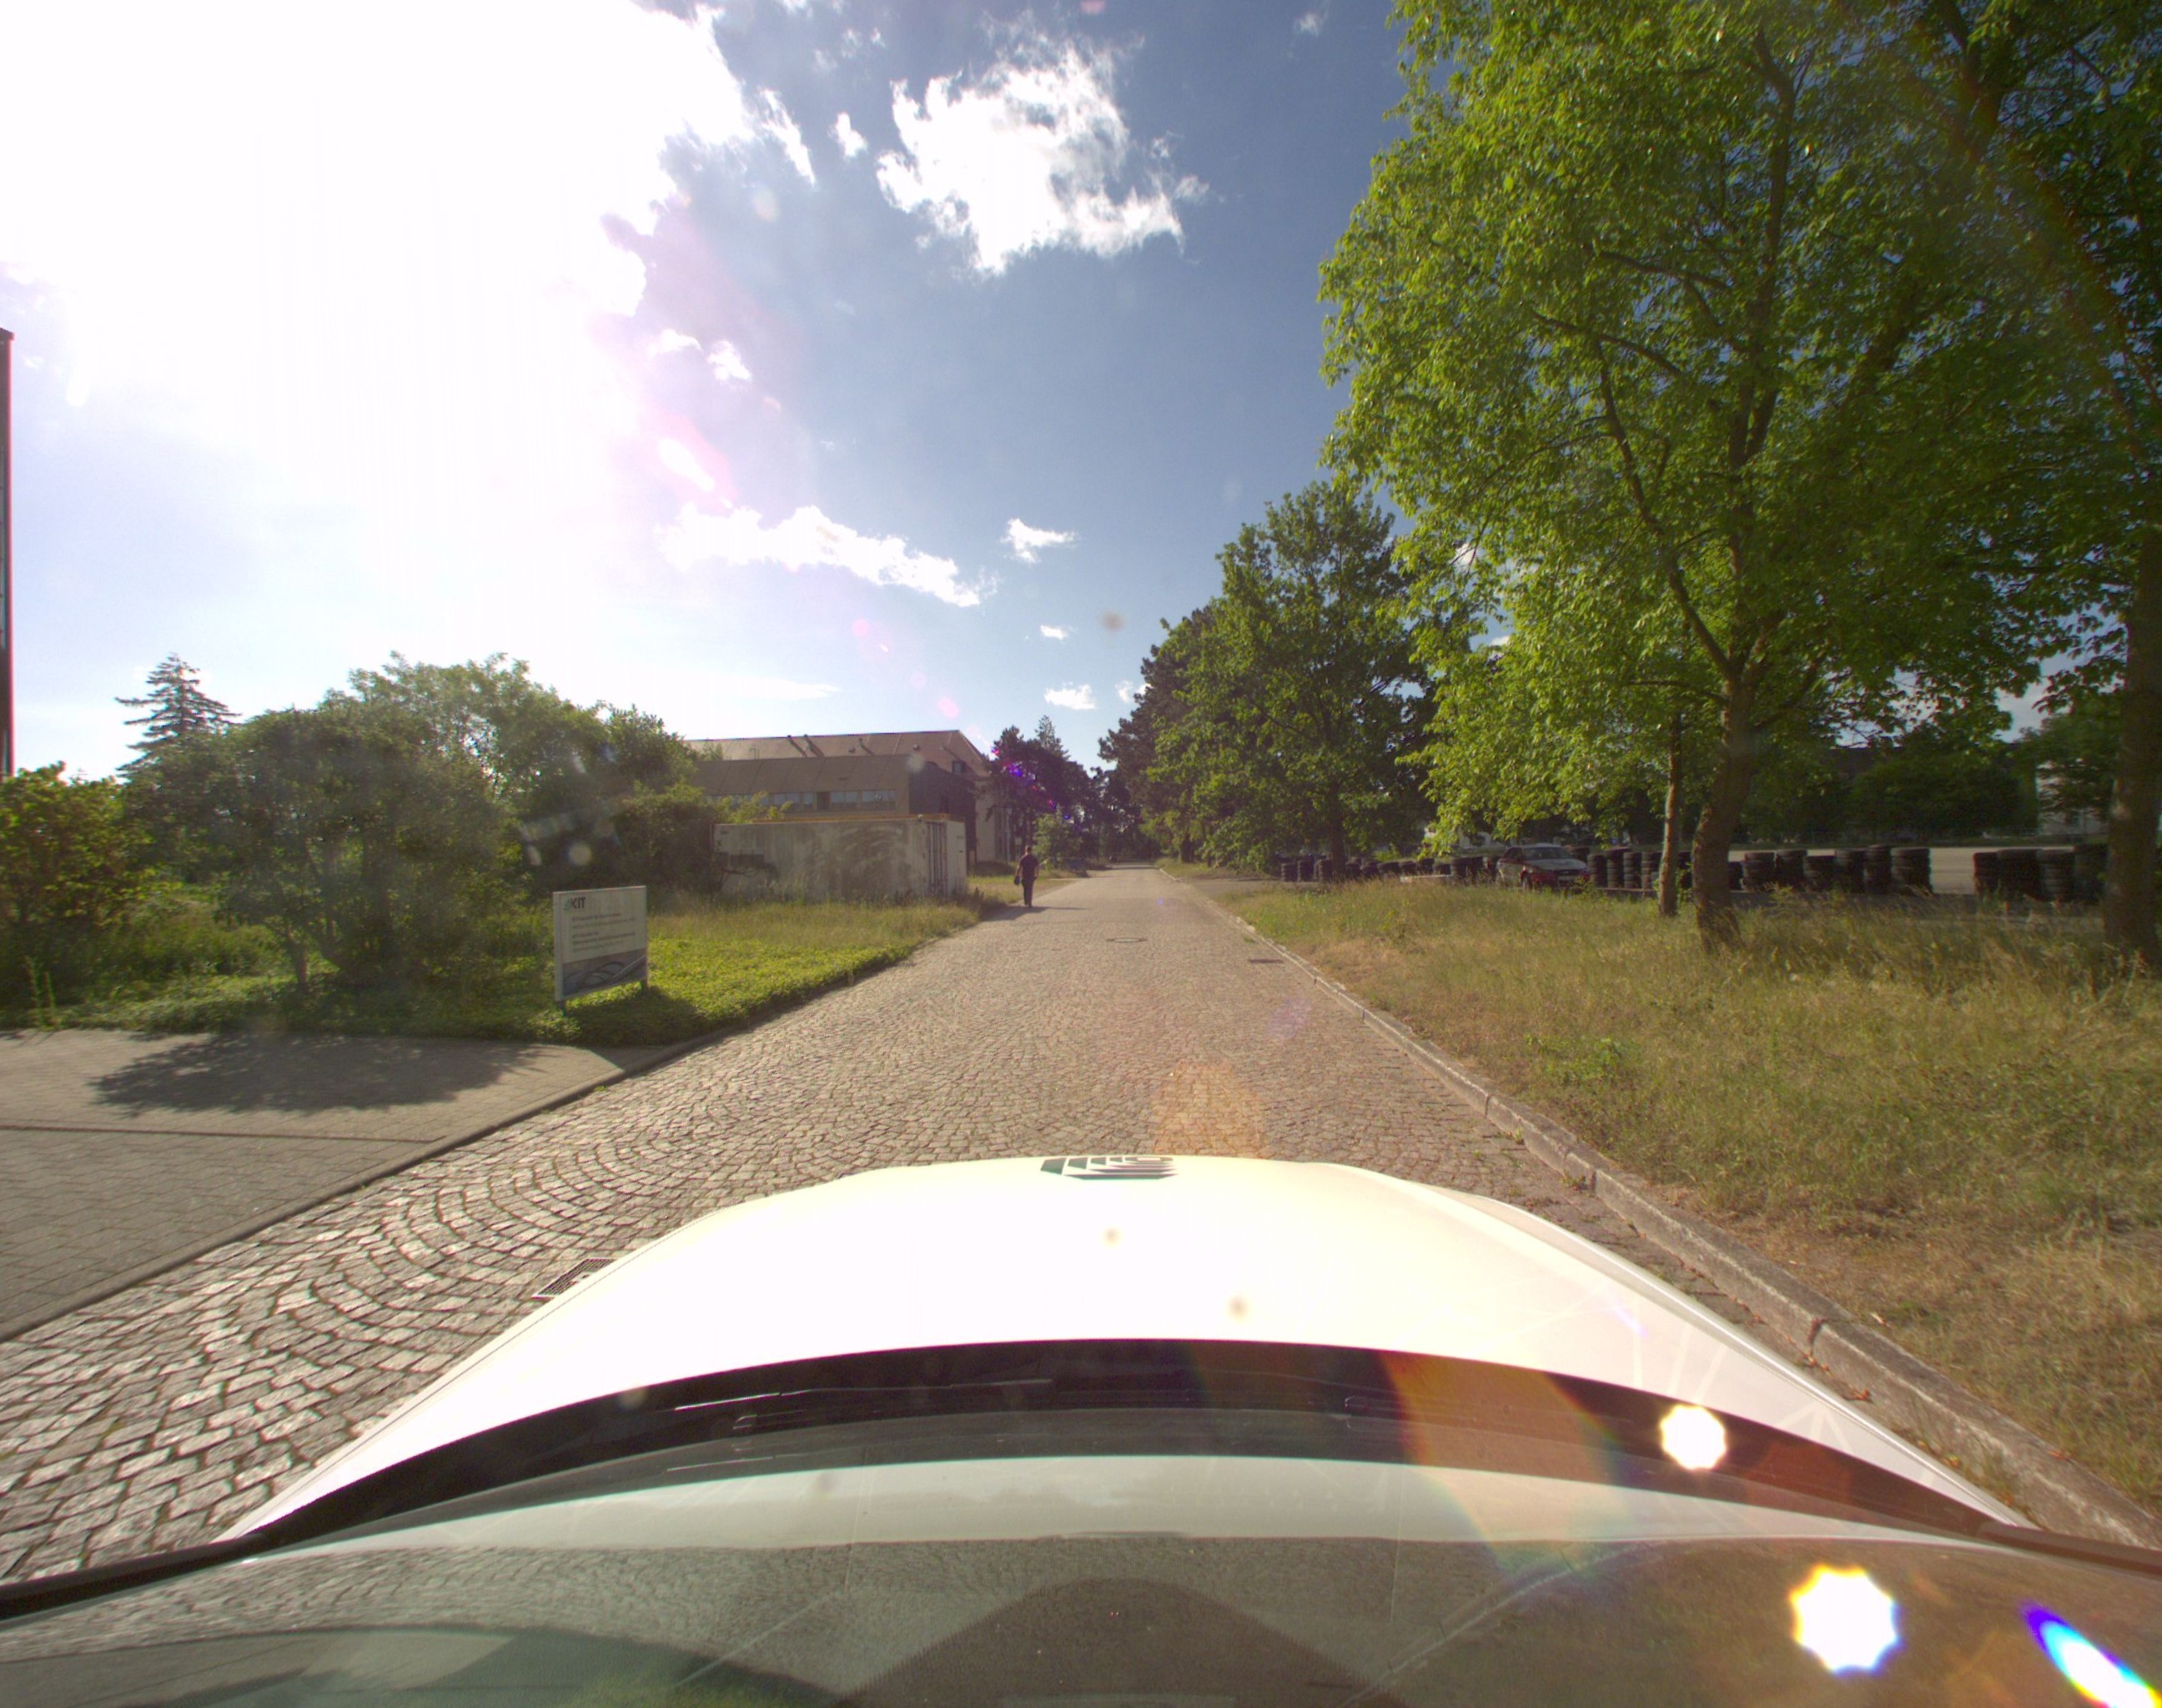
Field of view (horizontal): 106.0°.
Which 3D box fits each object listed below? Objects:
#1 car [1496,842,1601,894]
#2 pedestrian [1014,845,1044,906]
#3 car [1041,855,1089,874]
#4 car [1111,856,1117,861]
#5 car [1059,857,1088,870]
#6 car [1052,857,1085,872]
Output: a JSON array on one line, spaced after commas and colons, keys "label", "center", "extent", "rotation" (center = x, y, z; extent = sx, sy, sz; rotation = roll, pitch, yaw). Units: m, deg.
[{"label": "car", "center": [13.788, 0.385, 24.230], "extent": [1.531, 1.407, 3.587], "rotation": [-1, 0, 10]}, {"label": "pedestrian", "center": [-1.558, 0.640, 24.526], "extent": [0.792, 1.781, 1.069], "rotation": [0, -1, 2]}, {"label": "car", "center": [-1.286, 0.873, 66.893], "extent": [3.819, 1.441, 1.583], "rotation": [-1, 0, 1]}, {"label": "car", "center": [7.604, 1.145, 189.380], "extent": [1.364, 1.099, 2.864], "rotation": [-1, 0, 1]}, {"label": "car", "center": [-0.808, 0.987, 83.583], "extent": [2.849, 1.206, 1.371], "rotation": [-1, 0, -5]}, {"label": "car", "center": [-1.169, 0.958, 74.189], "extent": [2.898, 1.259, 1.285], "rotation": [-1, 0, -5]}]
